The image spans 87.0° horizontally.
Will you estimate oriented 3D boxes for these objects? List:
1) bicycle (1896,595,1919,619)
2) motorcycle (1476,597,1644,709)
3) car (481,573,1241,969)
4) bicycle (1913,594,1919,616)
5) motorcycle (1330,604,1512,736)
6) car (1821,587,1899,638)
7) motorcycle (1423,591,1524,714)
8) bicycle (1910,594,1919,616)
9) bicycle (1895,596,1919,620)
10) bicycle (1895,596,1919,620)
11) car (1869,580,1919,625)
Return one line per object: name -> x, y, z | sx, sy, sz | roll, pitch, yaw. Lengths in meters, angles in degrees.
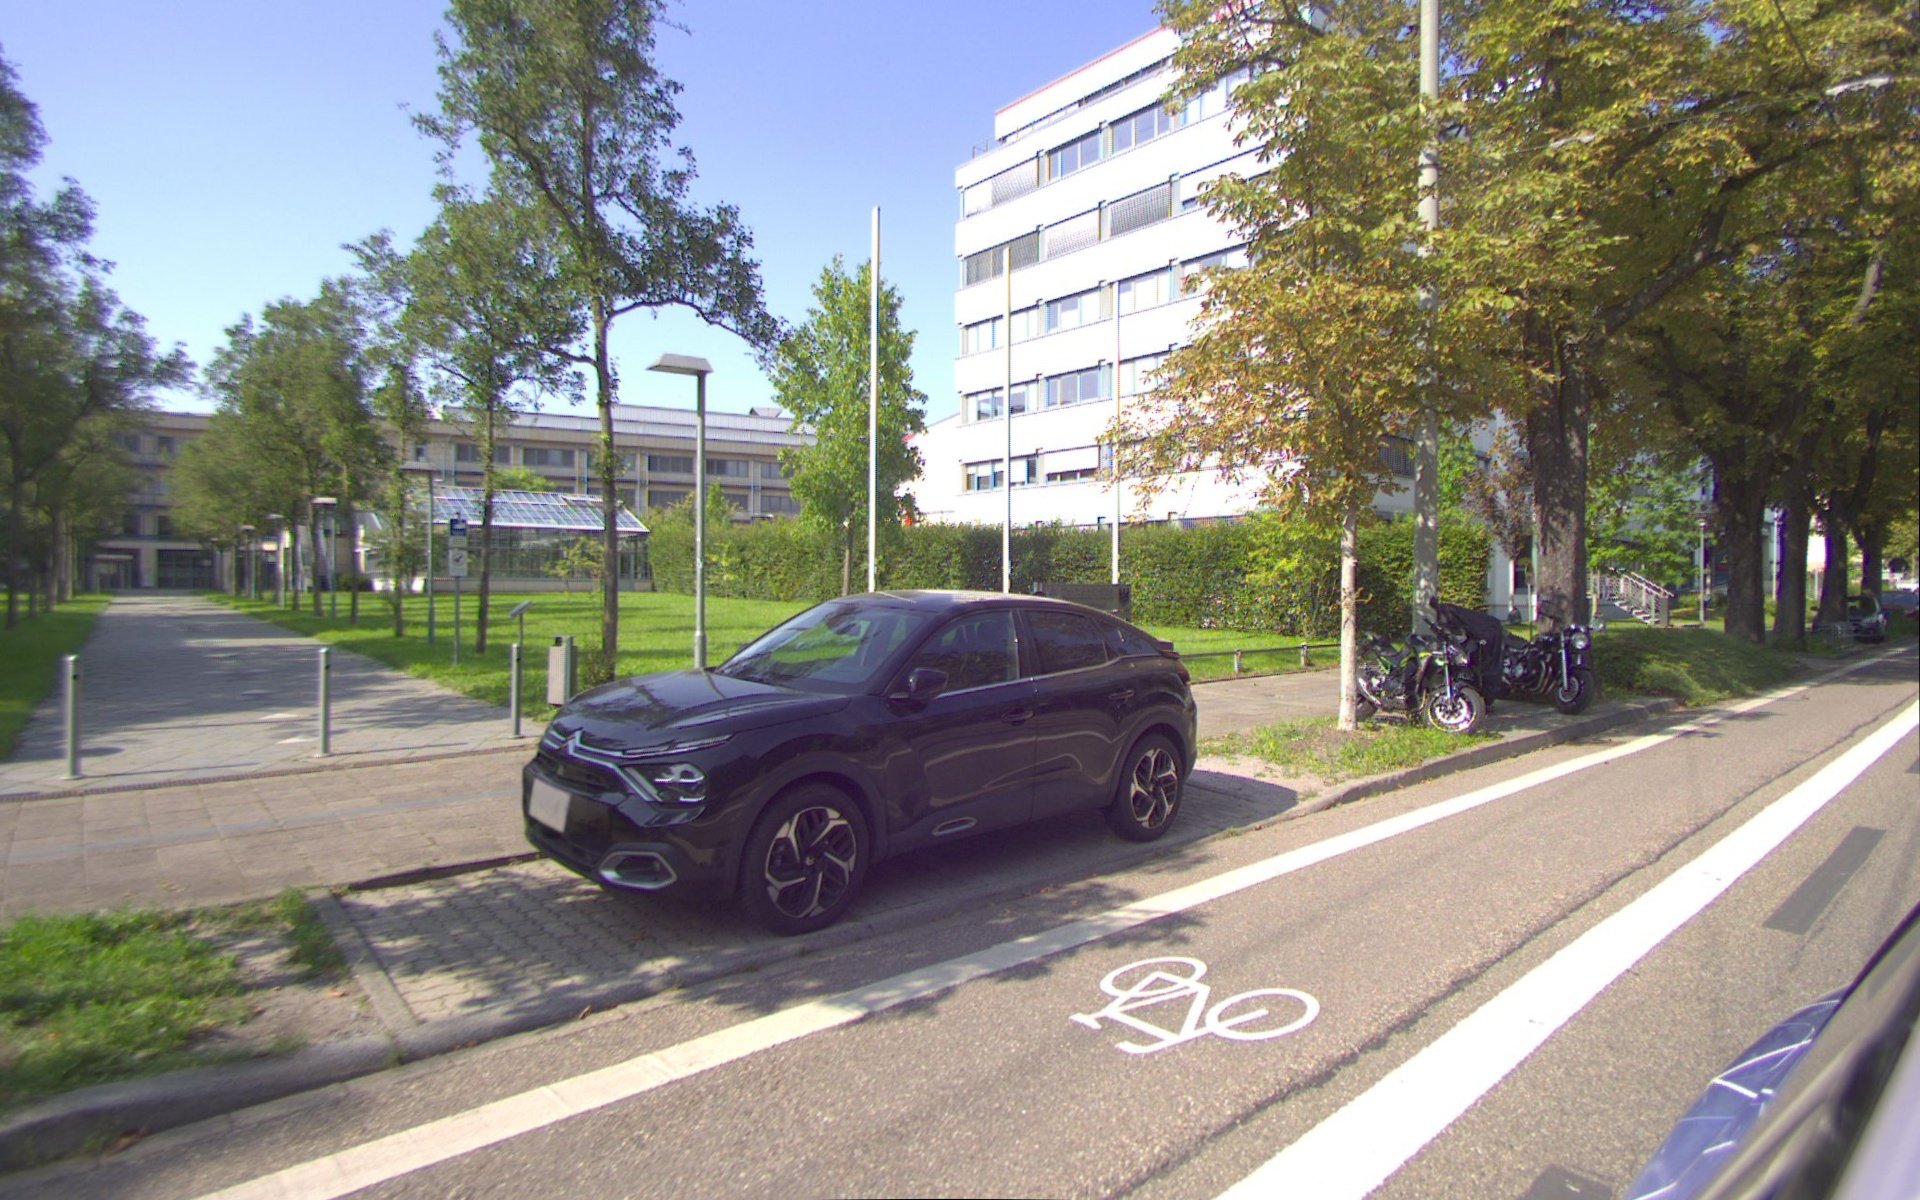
bicycle -> 41.818, 0.317, 44.146 | 0.376, 1.027, 1.457 | 0, 1, -44
motorcycle -> 7.681, 0.635, 13.106 | 0.828, 1.258, 2.069 | 1, 2, -3
car -> -0.279, 0.639, 6.048 | 4.362, 1.504, 1.743 | 0, 2, -43
bicycle -> 45.740, 0.242, 47.377 | 0.376, 1.027, 1.618 | 0, 1, -44
motorcycle -> 4.882, 0.681, 10.884 | 0.632, 1.240, 1.993 | 0, 1, -16
car -> 28.750, 0.351, 32.292 | 3.506, 1.459, 1.564 | -1, 4, -44
motorcycle -> 6.397, 0.589, 12.711 | 0.834, 1.343, 2.054 | 1, 2, 19
bicycle -> 45.300, 0.248, 47.170 | 0.376, 1.027, 1.457 | 0, 1, -44
bicycle -> 40.632, 0.345, 42.902 | 0.376, 1.027, 1.457 | 0, 1, -44
bicycle -> 41.202, 0.332, 43.505 | 0.376, 1.027, 1.457 | 0, 1, -44
car -> 37.557, 0.064, 40.133 | 4.113, 1.673, 1.864 | -1, 3, -43
